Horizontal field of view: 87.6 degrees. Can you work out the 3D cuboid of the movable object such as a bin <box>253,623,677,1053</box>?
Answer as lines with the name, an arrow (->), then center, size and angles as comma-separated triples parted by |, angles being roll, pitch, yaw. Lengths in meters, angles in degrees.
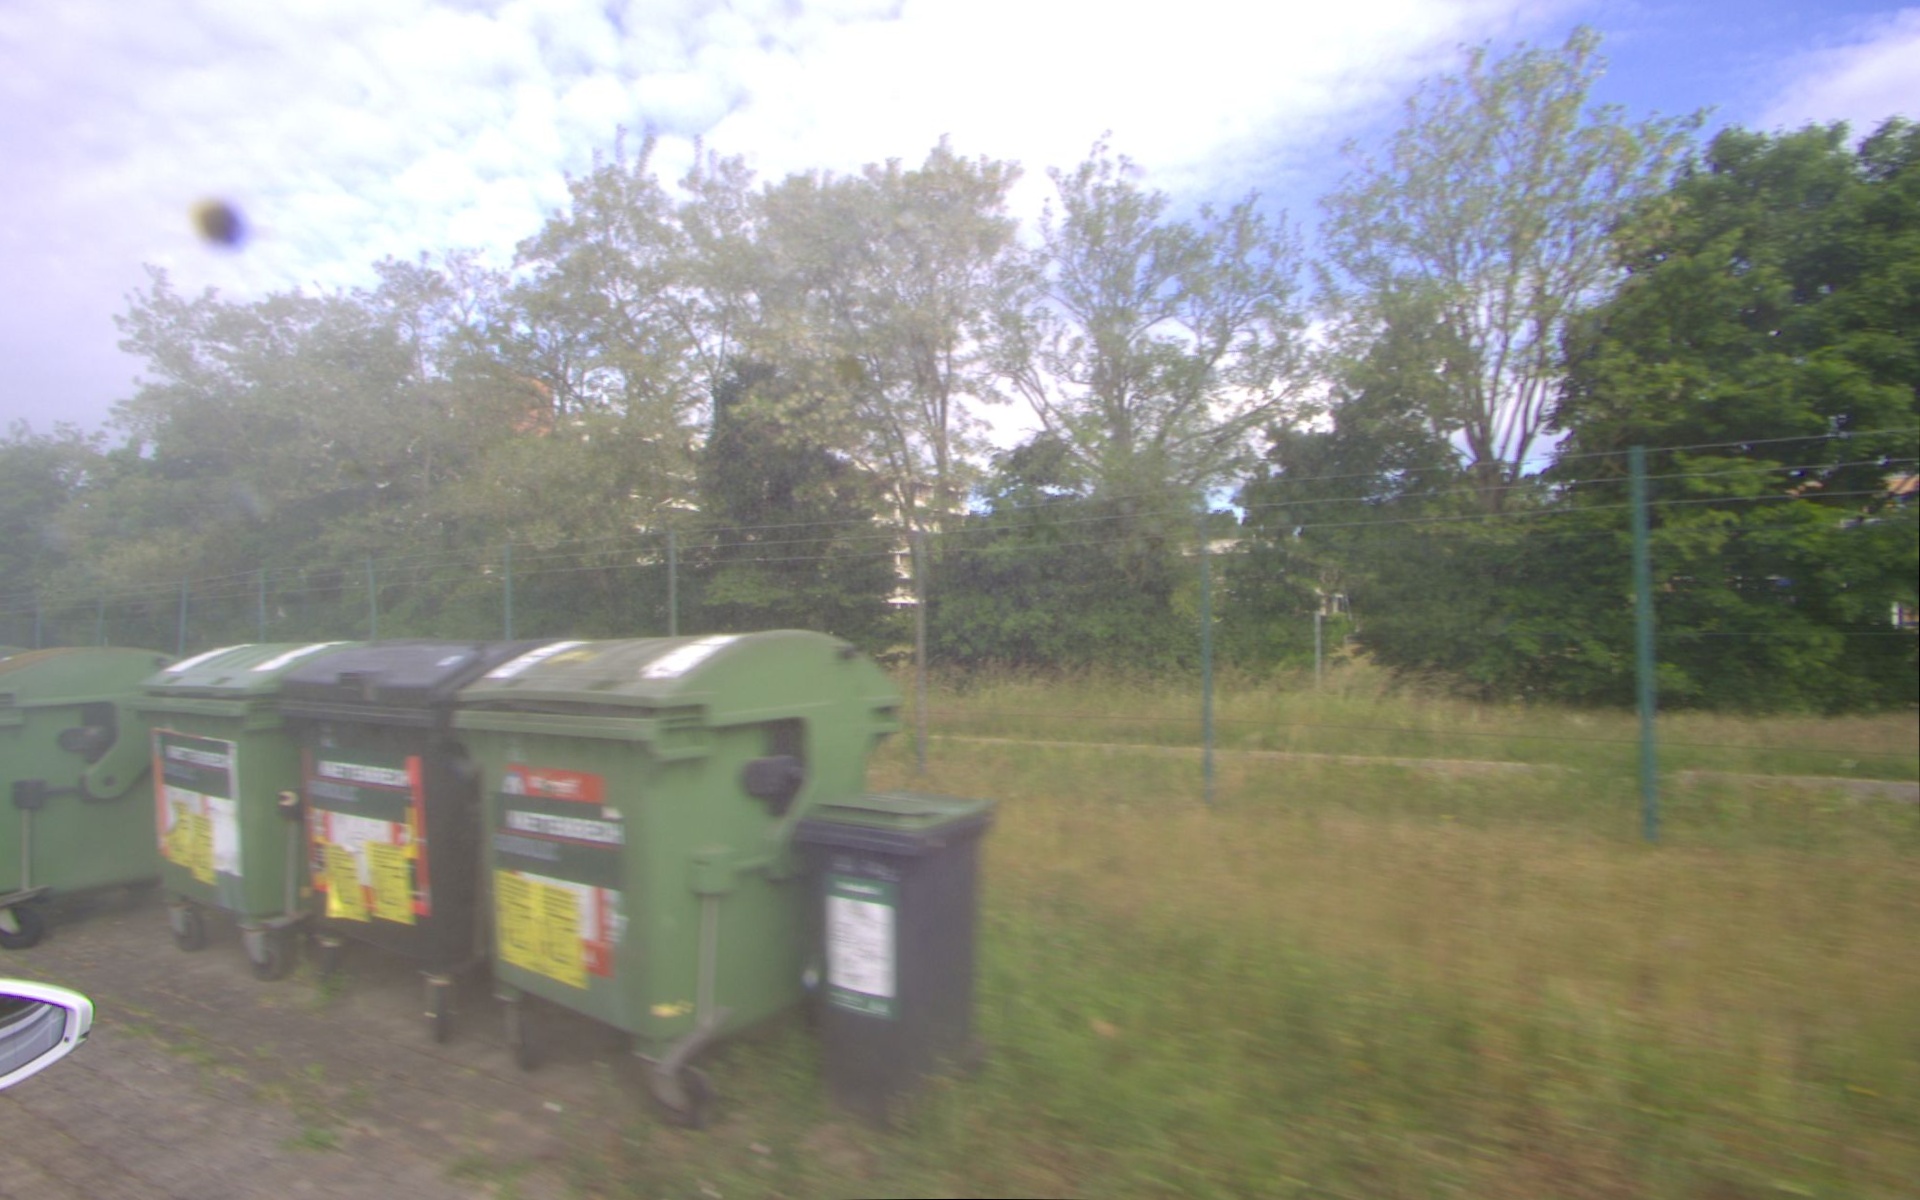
movable object such as a bin -> -2.082, 0.840, 4.233 | 1.379, 1.453, 1.067 | -2, -2, 34

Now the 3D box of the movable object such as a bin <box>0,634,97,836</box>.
movable object such as a bin -> -6.875, 0.905, 6.839 | 1.359, 1.312, 1.121 | -2, -2, 30

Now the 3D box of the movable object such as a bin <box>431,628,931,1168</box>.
movable object such as a bin -> -0.980, 0.820, 3.507 | 1.340, 1.413, 1.123 | -2, -2, 40

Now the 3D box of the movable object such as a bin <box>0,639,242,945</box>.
movable object such as a bin -> -4.740, 0.933, 5.427 | 1.370, 1.416, 1.117 | -2, -2, 42

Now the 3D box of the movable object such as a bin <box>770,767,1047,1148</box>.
movable object such as a bin -> -0.149, 0.998, 3.021 | 0.579, 0.877, 0.597 | -2, -2, 40

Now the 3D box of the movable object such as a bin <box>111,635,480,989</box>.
movable object such as a bin -> -3.238, 0.897, 4.893 | 1.366, 1.423, 1.067 | -2, -2, 34
